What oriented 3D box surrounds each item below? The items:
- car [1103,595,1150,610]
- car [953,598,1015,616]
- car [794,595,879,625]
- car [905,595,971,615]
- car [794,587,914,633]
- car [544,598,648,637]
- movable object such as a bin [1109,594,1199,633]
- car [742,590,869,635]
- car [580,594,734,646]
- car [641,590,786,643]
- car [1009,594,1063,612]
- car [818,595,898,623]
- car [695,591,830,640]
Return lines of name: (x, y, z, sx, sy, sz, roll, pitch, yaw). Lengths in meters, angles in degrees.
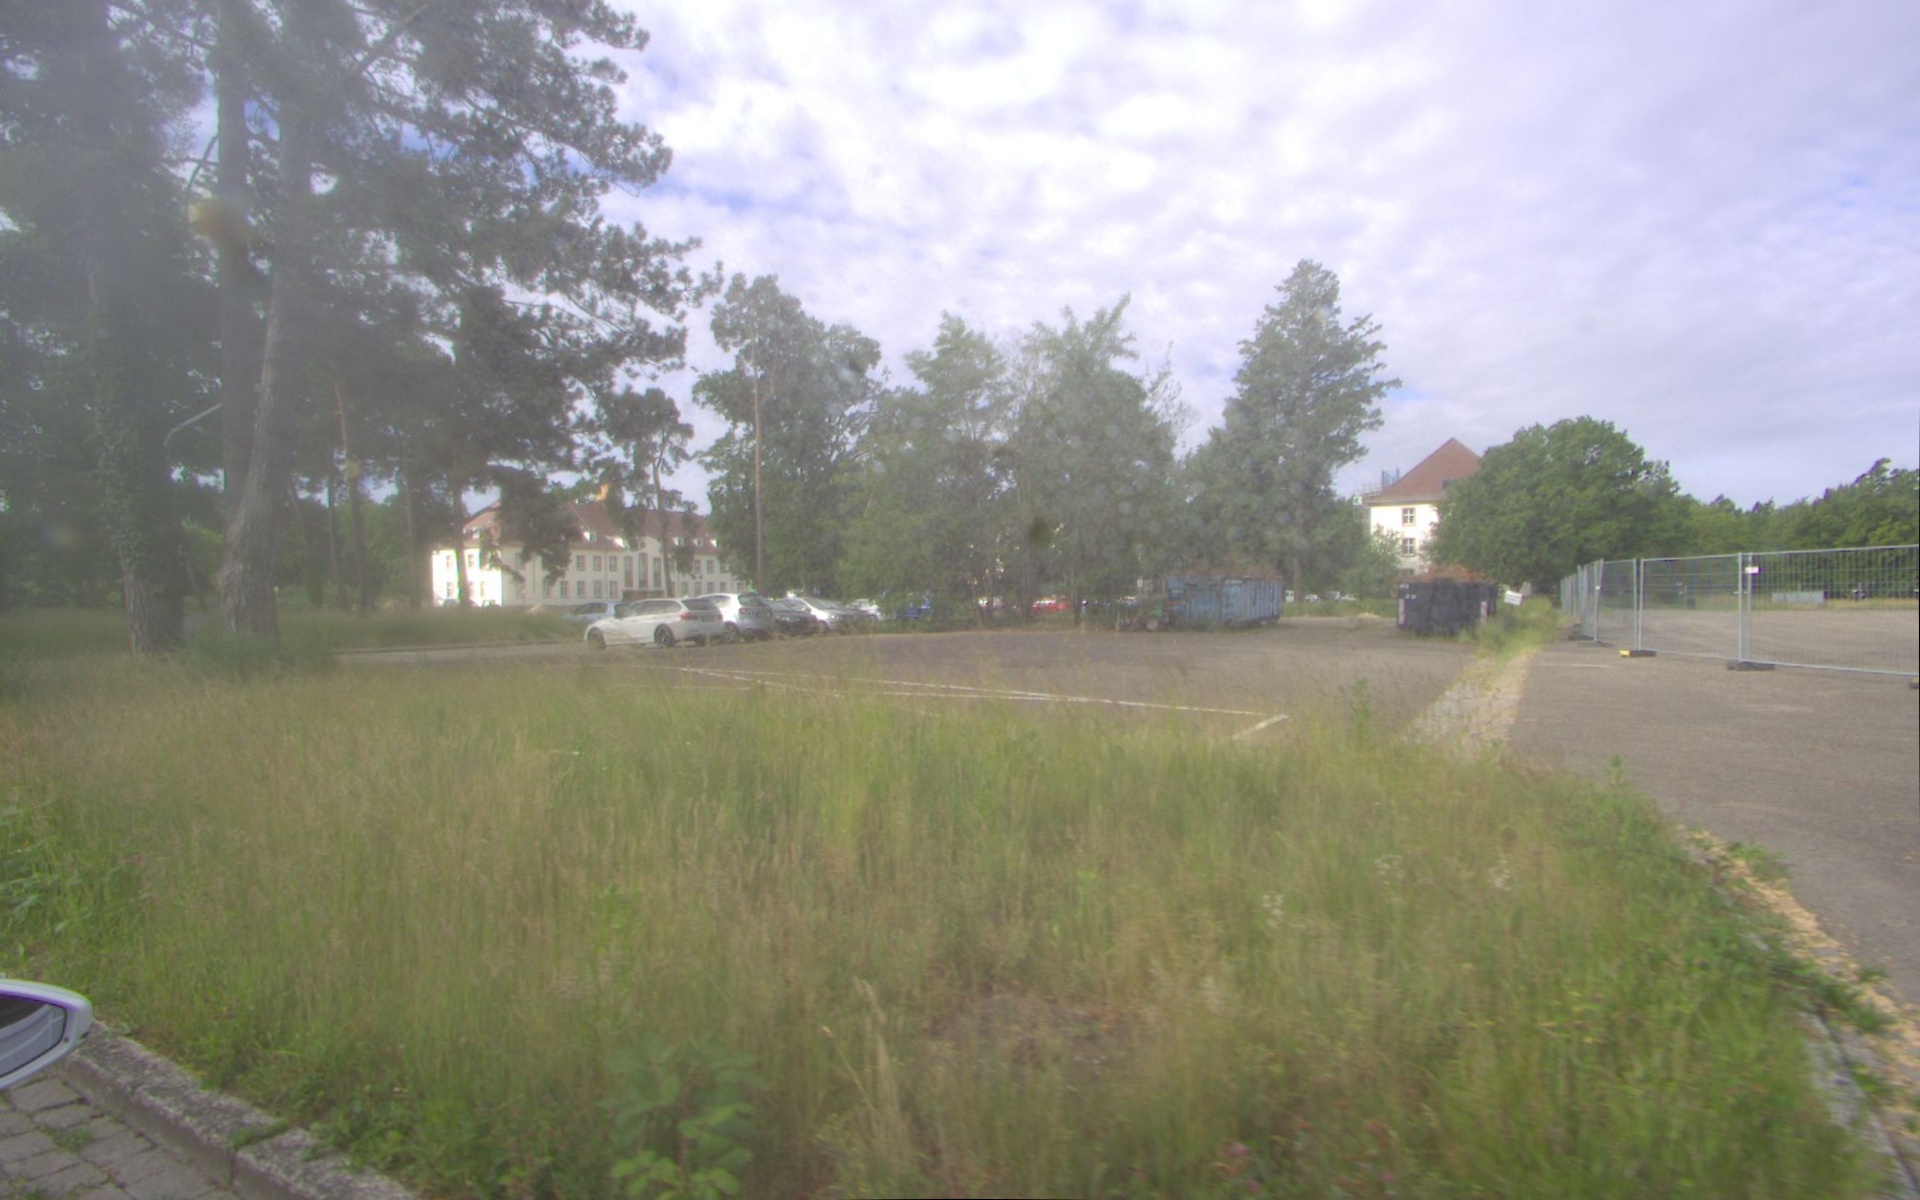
car: (14.979, 0.227, 90.169, 3.935, 1.226, 1.656, 0, 1, 26)
car: (1.650, 0.474, 69.060, 3.933, 1.226, 1.658, 0, 1, 23)
car: (-6.746, 0.526, 54.629, 4.378, 1.544, 1.750, 0, 1, 28)
car: (-1.416, 0.301, 63.594, 3.940, 1.226, 1.655, 0, 1, 30)
car: (-4.150, 0.359, 38.989, 4.378, 1.709, 1.864, 0, 1, 28)
car: (-15.211, 0.693, 41.788, 4.384, 1.544, 1.748, 0, 1, 33)
movable object such as a bin: (5.968, 0.396, 30.858, 2.504, 1.098, 1.060, 1, 2, 30)
car: (-5.705, 0.445, 36.947, 4.378, 1.598, 1.864, 0, 1, 28)
car: (-8.947, 0.586, 29.497, 4.379, 1.434, 1.750, -1, 0, 28)
car: (-7.860, 0.494, 31.855, 4.378, 1.598, 1.864, 0, 1, 28)
car: (5.979, 0.238, 78.569, 3.935, 1.373, 1.656, 0, 1, 26)
car: (-5.848, 0.511, 57.317, 4.378, 1.544, 1.750, 0, 1, 28)
car: (-6.777, 0.515, 34.297, 4.378, 1.598, 1.864, 0, 1, 28)
